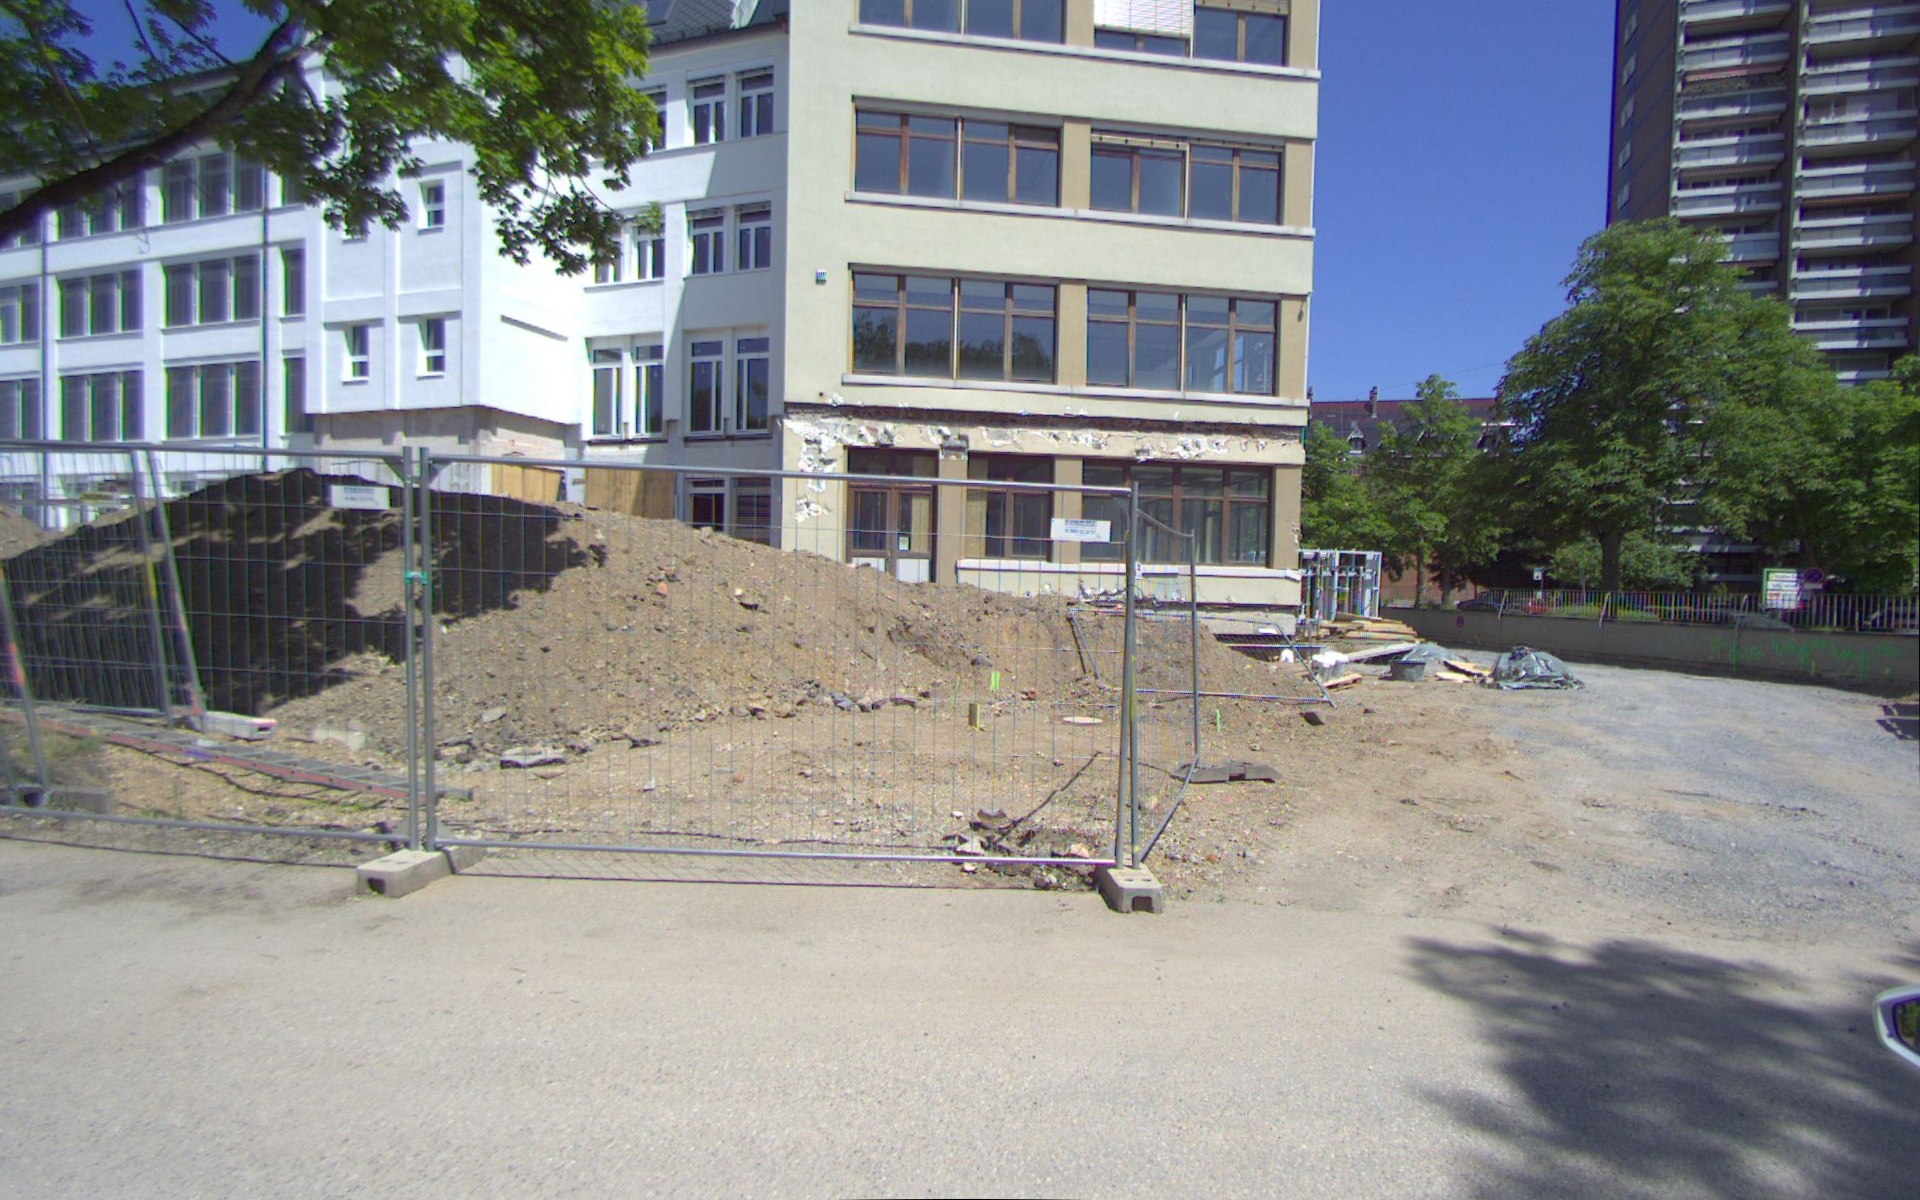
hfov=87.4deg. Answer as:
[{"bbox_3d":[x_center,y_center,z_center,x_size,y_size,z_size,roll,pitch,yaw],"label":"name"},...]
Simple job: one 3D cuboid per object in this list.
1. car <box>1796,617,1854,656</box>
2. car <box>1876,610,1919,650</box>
[{"bbox_3d":[34.284,1.400,39.872,1.613,1.406,3.661,2,1,39],"label":"car"},{"bbox_3d":[35.526,1.121,37.589,1.613,1.406,3.661,2,1,39],"label":"car"}]
